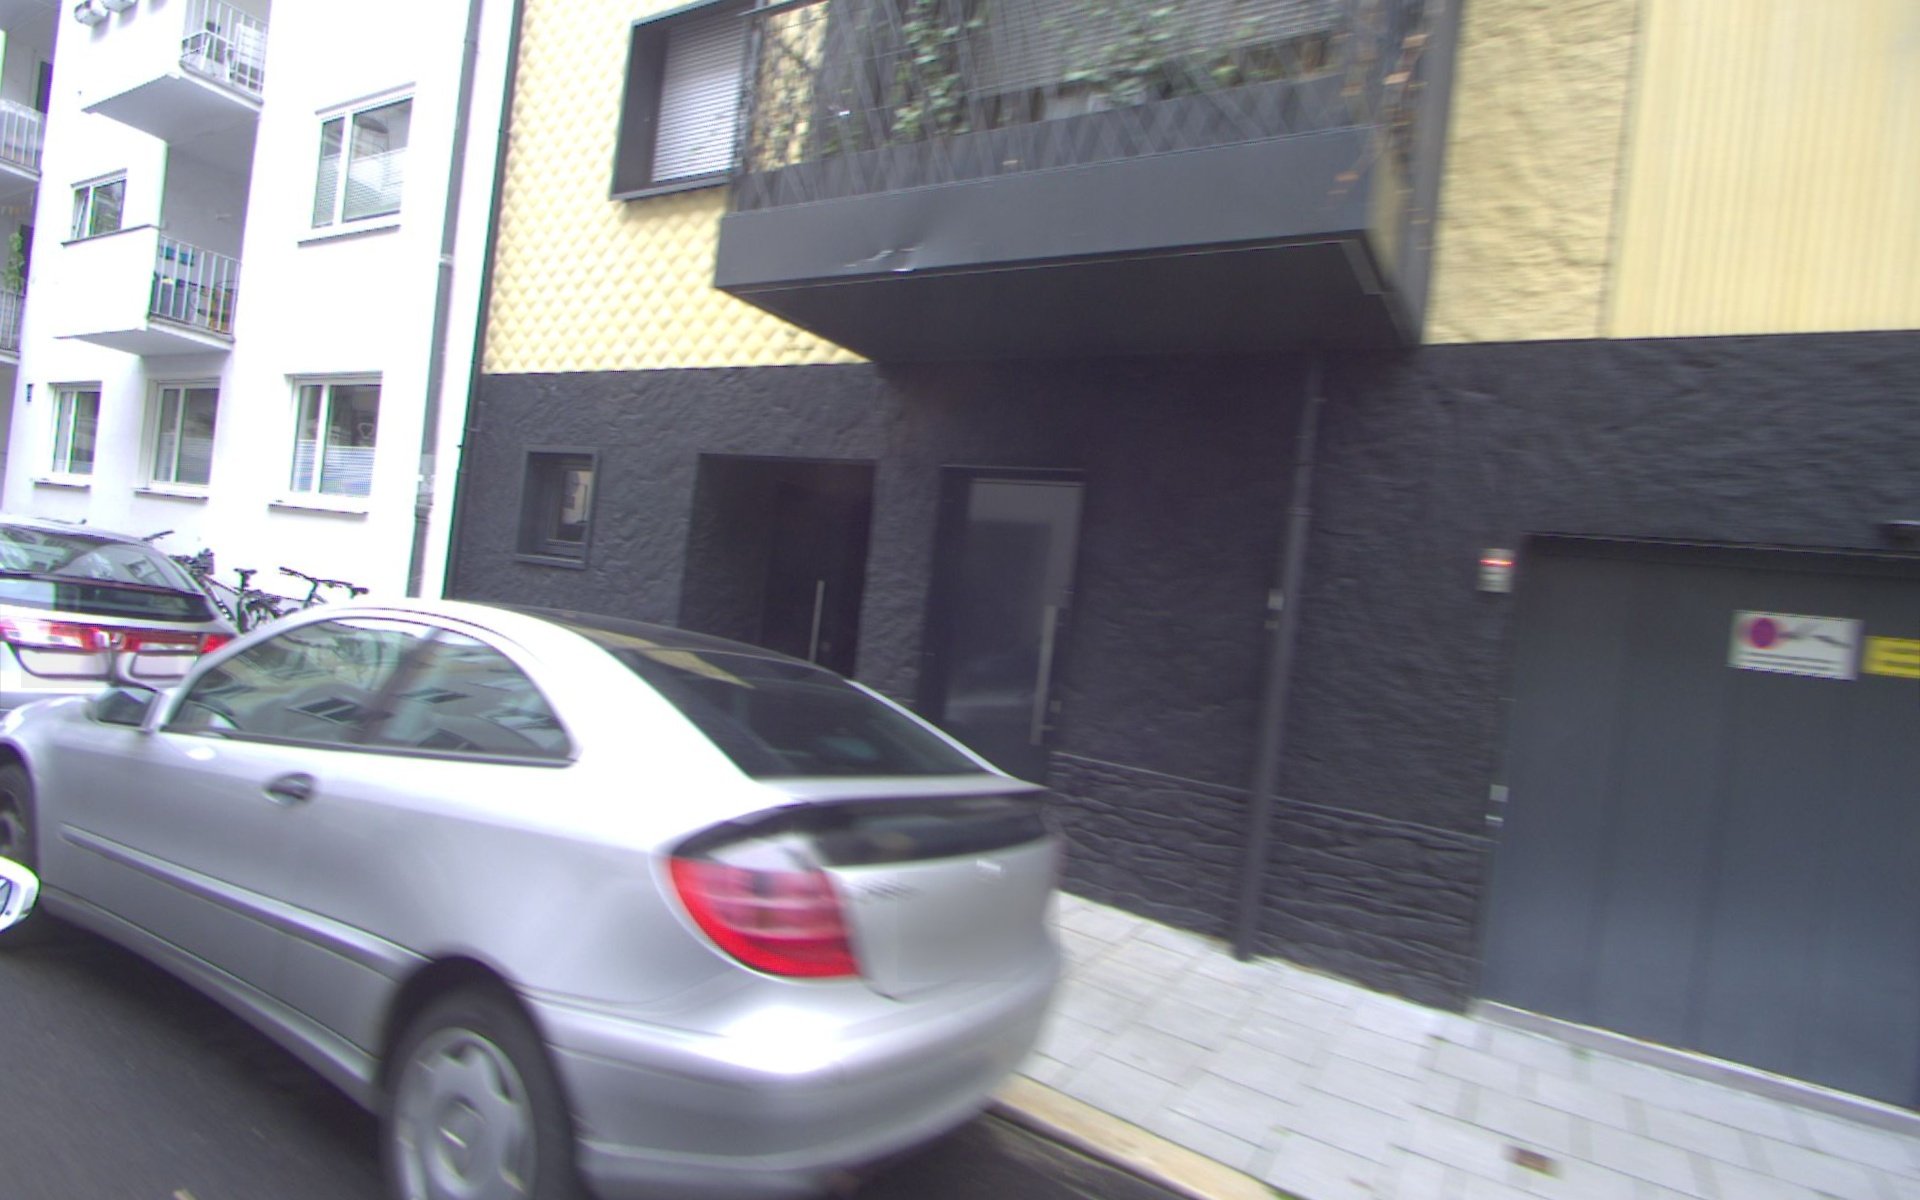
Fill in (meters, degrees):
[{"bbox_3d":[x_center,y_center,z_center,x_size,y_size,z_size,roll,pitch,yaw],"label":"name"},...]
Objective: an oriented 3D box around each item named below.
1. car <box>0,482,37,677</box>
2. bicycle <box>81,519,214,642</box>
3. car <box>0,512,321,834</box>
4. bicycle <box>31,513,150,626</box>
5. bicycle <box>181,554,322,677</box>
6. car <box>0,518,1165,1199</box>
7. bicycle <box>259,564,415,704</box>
[{"bbox_3d":[-10.084,-0.444,8.637,4.548,1.572,1.908,7,0,31],"label":"car"},{"bbox_3d":[-9.045,-0.224,11.187,1.537,1.165,0.571,7,0,31],"label":"bicycle"},{"bbox_3d":[-5.928,0.182,5.923,4.189,1.446,1.765,7,-3,30],"label":"car"},{"bbox_3d":[-10.351,-0.369,11.967,1.406,1.165,0.571,7,0,31],"label":"bicycle"},{"bbox_3d":[-7.021,0.138,9.947,1.526,1.014,0.478,7,0,31],"label":"bicycle"},{"bbox_3d":[-1.640,0.663,3.427,4.131,1.447,1.737,7,0,30],"label":"car"},{"bbox_3d":[-5.670,0.294,9.131,1.496,1.060,0.477,7,0,31],"label":"bicycle"}]
